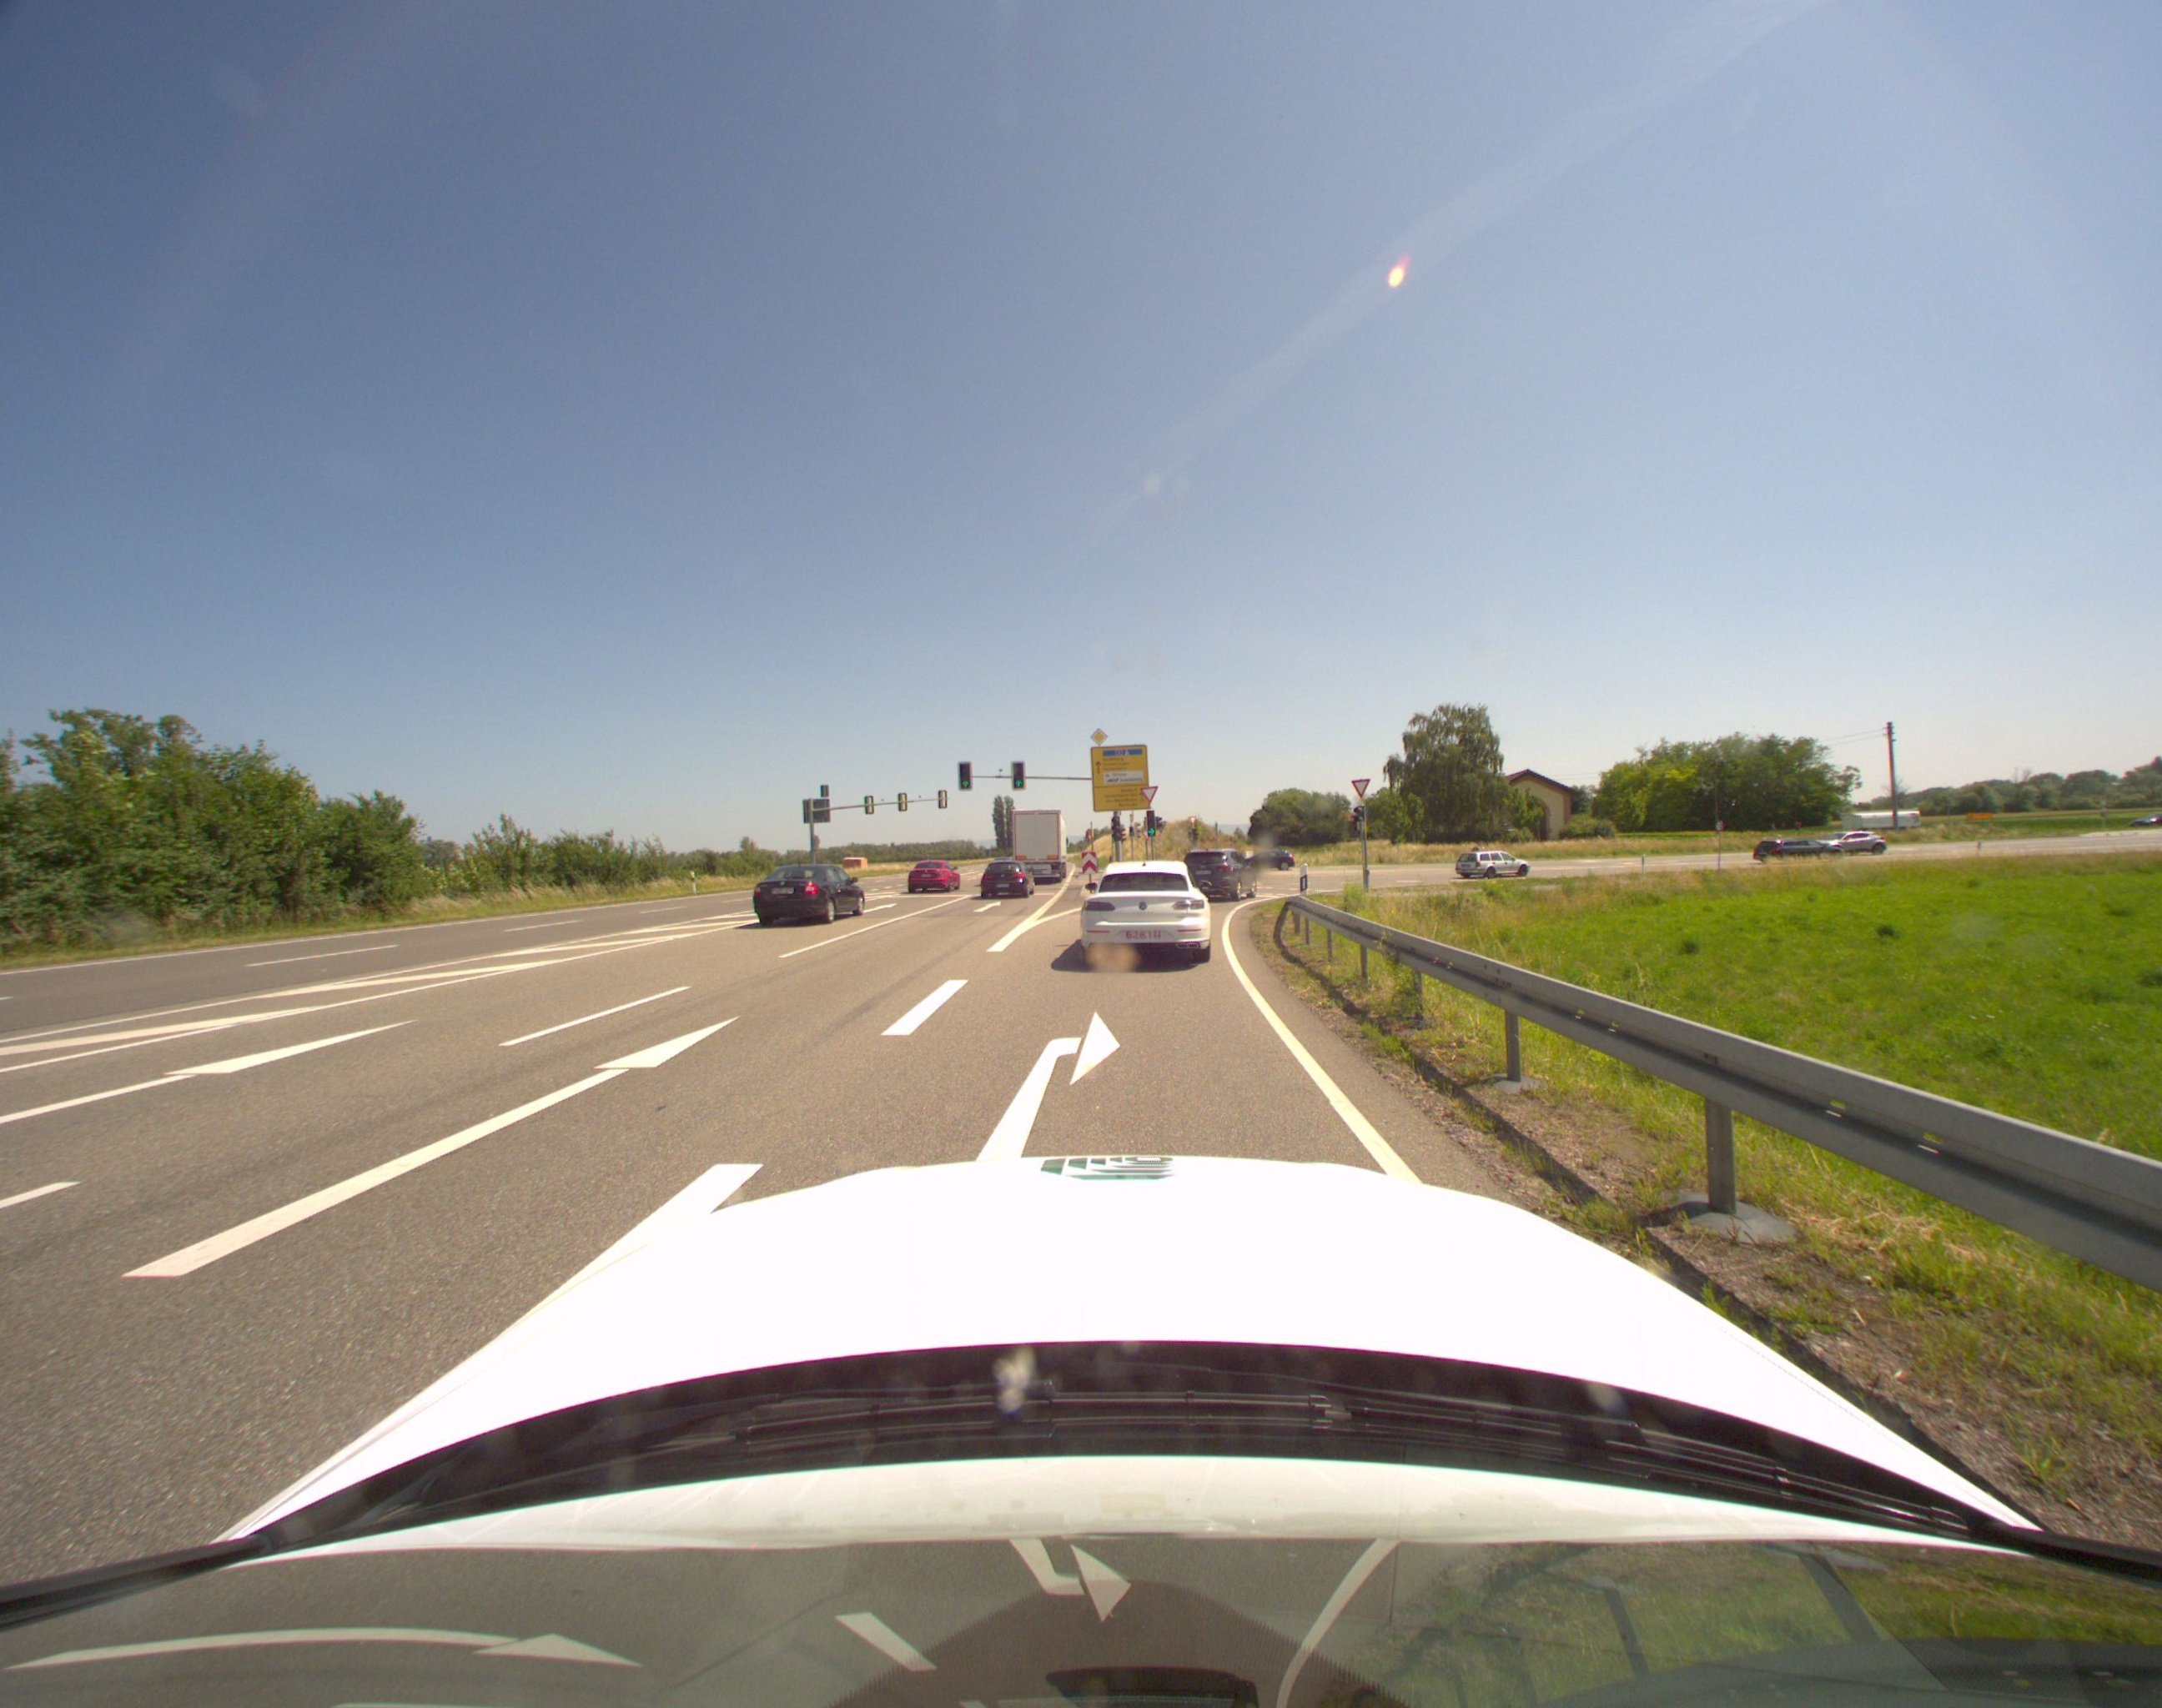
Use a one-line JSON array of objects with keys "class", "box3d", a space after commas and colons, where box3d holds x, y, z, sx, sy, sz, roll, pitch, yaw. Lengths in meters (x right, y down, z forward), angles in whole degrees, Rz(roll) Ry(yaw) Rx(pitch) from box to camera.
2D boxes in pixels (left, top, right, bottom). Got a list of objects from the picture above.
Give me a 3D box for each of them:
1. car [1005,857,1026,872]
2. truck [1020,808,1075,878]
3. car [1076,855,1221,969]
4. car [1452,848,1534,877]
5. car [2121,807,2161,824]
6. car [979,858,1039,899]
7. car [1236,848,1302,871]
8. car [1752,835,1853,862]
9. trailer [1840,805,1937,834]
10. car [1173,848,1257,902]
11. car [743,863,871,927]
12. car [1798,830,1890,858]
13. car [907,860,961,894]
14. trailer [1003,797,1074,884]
[{"class": "car", "box3d": [-6.840, 1.061, 85.337, 1.803, 1.493, 4.020, -1, 0, 0]}, {"class": "truck", "box3d": [-2.200, -0.693, 56.401, 3.369, 4.543, 6.374, -1, 0, 1]}, {"class": "car", "box3d": [0.994, 0.768, 12.824, 1.840, 1.433, 4.612, -1, -1, 3]}, {"class": "car", "box3d": [22.067, 0.435, 43.605, 4.099, 1.429, 1.791, -1, -1, -25]}, {"class": "car", "box3d": [96.659, -3.478, 73.184, 3.803, 1.387, 1.684, -2, 2, 9]}, {"class": "car", "box3d": [-2.714, 0.894, 31.615, 1.777, 1.430, 4.382, -1, 0, 1]}, {"class": "car", "box3d": [13.084, 0.368, 56.985, 4.241, 1.368, 1.778, -3, 1, 4]}, {"class": "car", "box3d": [41.772, -0.299, 47.217, 4.391, 1.476, 1.803, -1, -1, -4]}, {"class": "trailer", "box3d": [77.403, -3.295, 78.174, 6.330, 2.455, 2.691, -3, 1, 5]}, {"class": "car", "box3d": [4.526, 0.663, 26.962, 1.918, 1.616, 4.400, -1, -1, 20]}, {"class": "car", "box3d": [-6.762, 0.946, 20.647, 1.669, 1.412, 4.467, -1, -1, 1]}, {"class": "car", "box3d": [49.004, -0.626, 52.340, 4.532, 1.543, 1.867, -3, 1, -7]}, {"class": "car", "box3d": [-6.695, 0.997, 37.449, 1.744, 1.421, 4.563, -1, 0, -1]}, {"class": "trailer", "box3d": [-2.315, -0.684, 49.393, 3.369, 4.542, 12.872, -1, 0, 1]}]
